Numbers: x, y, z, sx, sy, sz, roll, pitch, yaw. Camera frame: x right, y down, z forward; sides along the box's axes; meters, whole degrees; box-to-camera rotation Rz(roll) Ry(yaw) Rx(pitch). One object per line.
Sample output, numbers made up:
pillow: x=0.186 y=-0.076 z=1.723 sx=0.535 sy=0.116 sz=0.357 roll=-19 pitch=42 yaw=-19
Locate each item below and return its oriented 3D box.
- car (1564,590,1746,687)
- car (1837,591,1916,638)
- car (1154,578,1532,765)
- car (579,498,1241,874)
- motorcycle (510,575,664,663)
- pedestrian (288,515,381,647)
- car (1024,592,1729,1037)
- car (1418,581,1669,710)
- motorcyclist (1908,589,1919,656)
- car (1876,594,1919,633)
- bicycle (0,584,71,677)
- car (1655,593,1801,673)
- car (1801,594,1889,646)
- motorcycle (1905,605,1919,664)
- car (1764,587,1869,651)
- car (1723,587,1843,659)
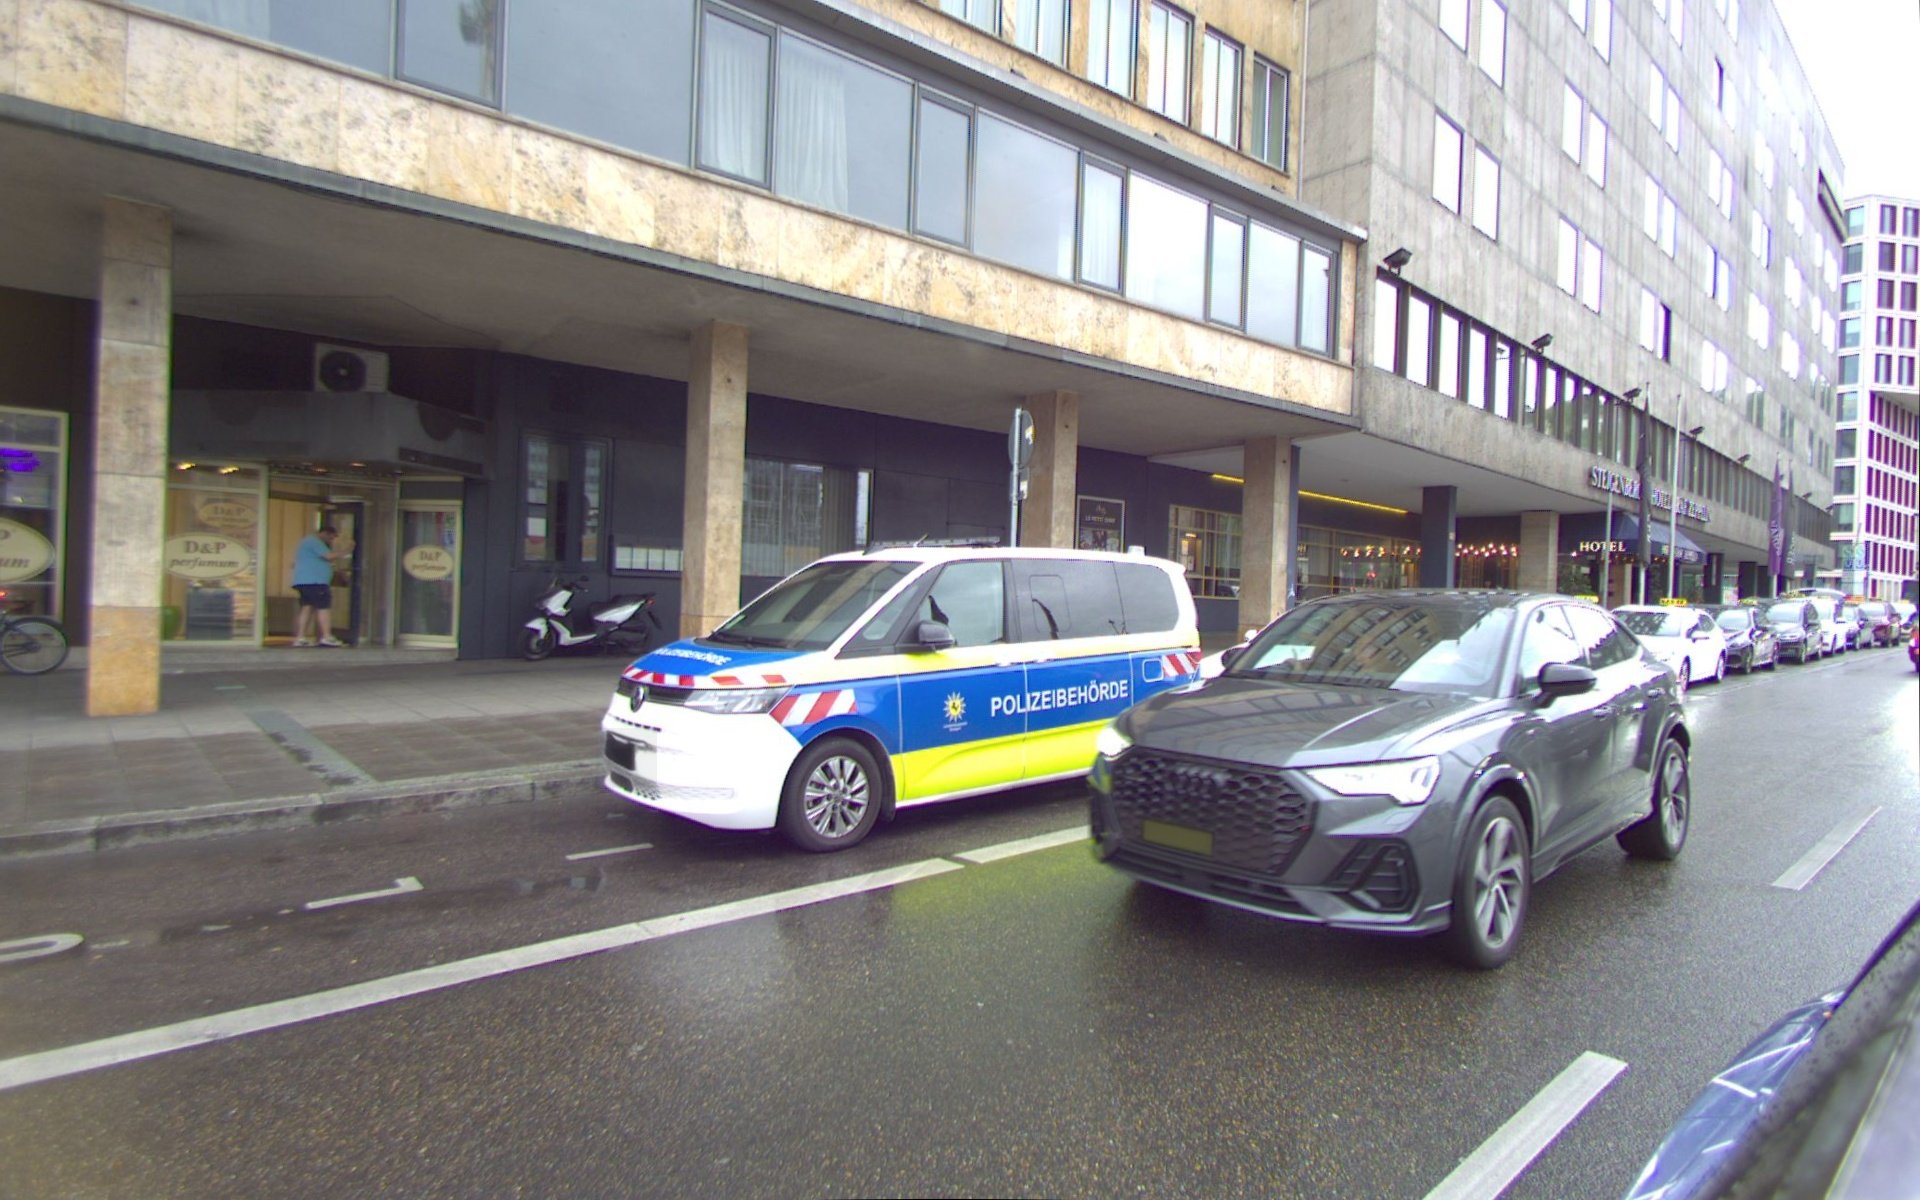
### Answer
car: x=13.141 y=0.618 z=19.020 sx=4.731 sy=1.612 sz=1.729 roll=0 pitch=0 yaw=-41
car: x=33.670 y=0.482 z=37.149 sx=3.932 sy=1.634 sz=1.729 roll=0 pitch=0 yaw=-41
car: x=4.456 y=0.610 z=11.320 sx=4.924 sy=1.658 sz=1.877 roll=0 pitch=0 yaw=-41
car: x=-0.085 y=0.425 z=7.560 sx=4.850 sy=1.944 sz=1.877 roll=0 pitch=0 yaw=-41
motorcycle: x=-5.486 y=0.258 z=14.957 sx=2.063 sy=1.233 sz=0.569 roll=0 pitch=0 yaw=-33
pedestrian: x=-8.985 y=-0.268 z=14.536 sx=1.114 sy=1.813 sz=0.801 roll=0 pitch=0 yaw=-33
car: x=2.532 y=0.725 z=5.597 sx=4.266 sy=1.520 sz=1.882 roll=0 pitch=0 yaw=-41
car: x=8.925 y=0.568 z=15.292 sx=4.731 sy=1.658 sz=1.877 roll=0 pitch=0 yaw=-41
motorcyclist: x=22.768 y=0.525 z=23.610 sx=0.829 sy=1.547 sz=0.860 roll=0 pitch=0 yaw=-40
car: x=41.207 y=0.545 z=43.936 sx=3.932 sy=1.634 sz=1.729 roll=0 pitch=0 yaw=-41
bicycle: x=-11.644 y=0.352 z=11.409 sx=2.428 sy=1.059 sz=0.657 roll=0 pitch=0 yaw=-41
car: x=17.397 y=0.657 z=22.832 sx=4.731 sy=1.612 sz=1.729 roll=0 pitch=0 yaw=-41
car: x=29.708 y=0.618 z=33.950 sx=3.932 sy=1.634 sz=1.729 roll=0 pitch=0 yaw=-41
motorcycle: x=22.770 y=0.797 z=23.611 sx=1.931 sy=1.323 sz=0.848 roll=0 pitch=0 yaw=-41
car: x=25.700 y=0.502 z=30.313 sx=4.731 sy=1.764 sz=1.729 roll=0 pitch=0 yaw=-41
car: x=21.917 y=0.538 z=26.880 sx=4.731 sy=1.764 sz=1.729 roll=0 pitch=0 yaw=-41
